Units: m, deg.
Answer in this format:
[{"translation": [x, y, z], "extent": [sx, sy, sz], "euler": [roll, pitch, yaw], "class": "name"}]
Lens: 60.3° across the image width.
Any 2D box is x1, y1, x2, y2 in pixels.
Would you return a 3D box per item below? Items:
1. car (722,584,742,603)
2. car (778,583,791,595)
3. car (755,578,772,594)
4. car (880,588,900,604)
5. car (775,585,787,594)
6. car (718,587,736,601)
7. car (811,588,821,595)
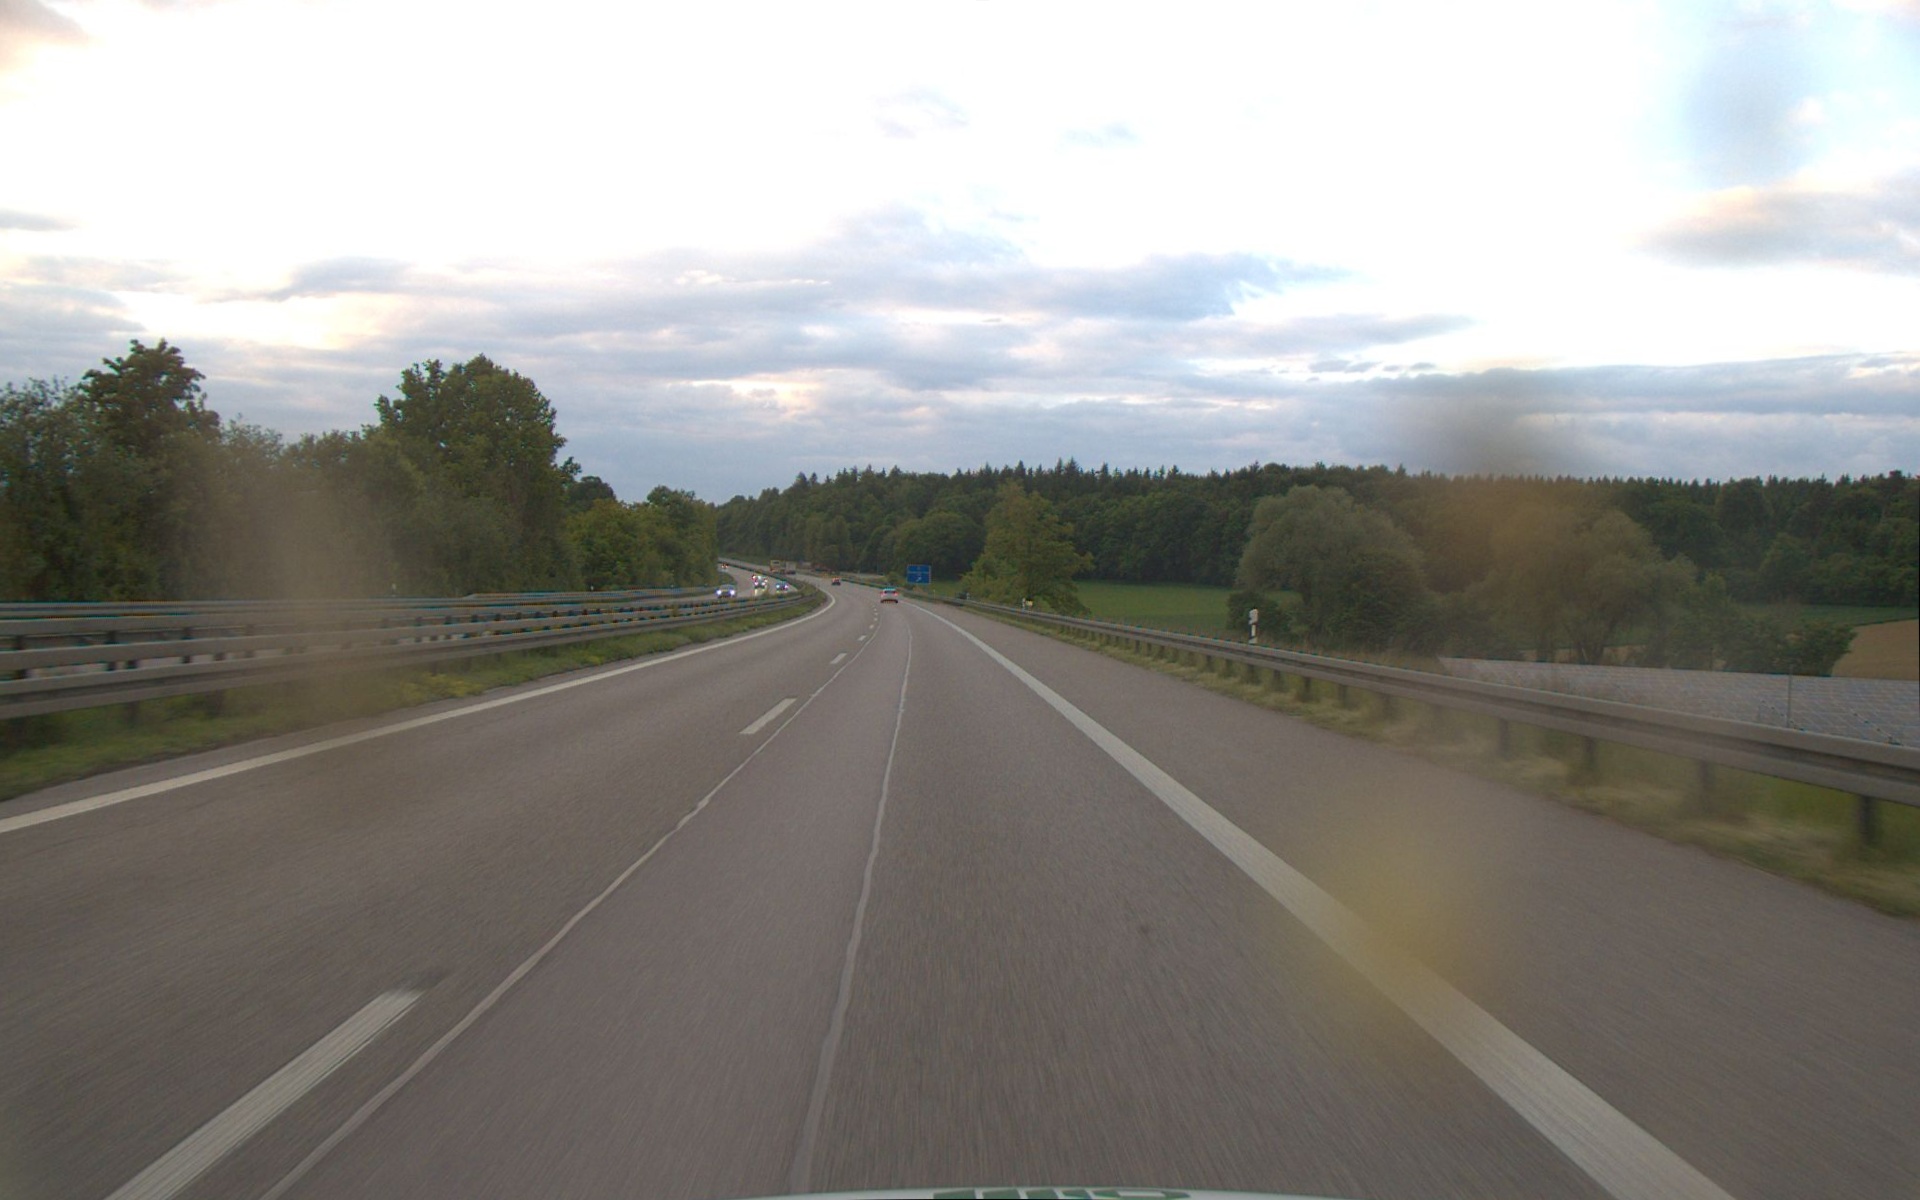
[{"translation": [-12.445, -0.373, 90.420], "extent": [0.824, 0.956, 1.763], "euler": [3, 1, -1], "class": "car"}, {"translation": [-14.089, -0.891, 133.083], "extent": [0.870, 0.894, 1.763], "euler": [3, 1, -2], "class": "car"}, {"translation": [-13.451, -0.961, 113.306], "extent": [0.869, 0.986, 1.764], "euler": [3, 1, 0], "class": "car"}, {"translation": [-7.295, -0.428, 173.532], "extent": [1.912, 1.558, 4.079], "euler": [3, 1, -1], "class": "car"}, {"translation": [-13.388, -0.782, 123.760], "extent": [0.665, 0.640, 1.597], "euler": [3, 1, -2], "class": "car"}, {"translation": [-23.764, -0.609, 168.688], "extent": [1.356, 1.296, 2.748], "euler": [3, 1, -2], "class": "car"}, {"translation": [-15.989, -0.946, 183.544], "extent": [0.952, 0.806, 1.980], "euler": [3, 1, -2], "class": "car"}]
